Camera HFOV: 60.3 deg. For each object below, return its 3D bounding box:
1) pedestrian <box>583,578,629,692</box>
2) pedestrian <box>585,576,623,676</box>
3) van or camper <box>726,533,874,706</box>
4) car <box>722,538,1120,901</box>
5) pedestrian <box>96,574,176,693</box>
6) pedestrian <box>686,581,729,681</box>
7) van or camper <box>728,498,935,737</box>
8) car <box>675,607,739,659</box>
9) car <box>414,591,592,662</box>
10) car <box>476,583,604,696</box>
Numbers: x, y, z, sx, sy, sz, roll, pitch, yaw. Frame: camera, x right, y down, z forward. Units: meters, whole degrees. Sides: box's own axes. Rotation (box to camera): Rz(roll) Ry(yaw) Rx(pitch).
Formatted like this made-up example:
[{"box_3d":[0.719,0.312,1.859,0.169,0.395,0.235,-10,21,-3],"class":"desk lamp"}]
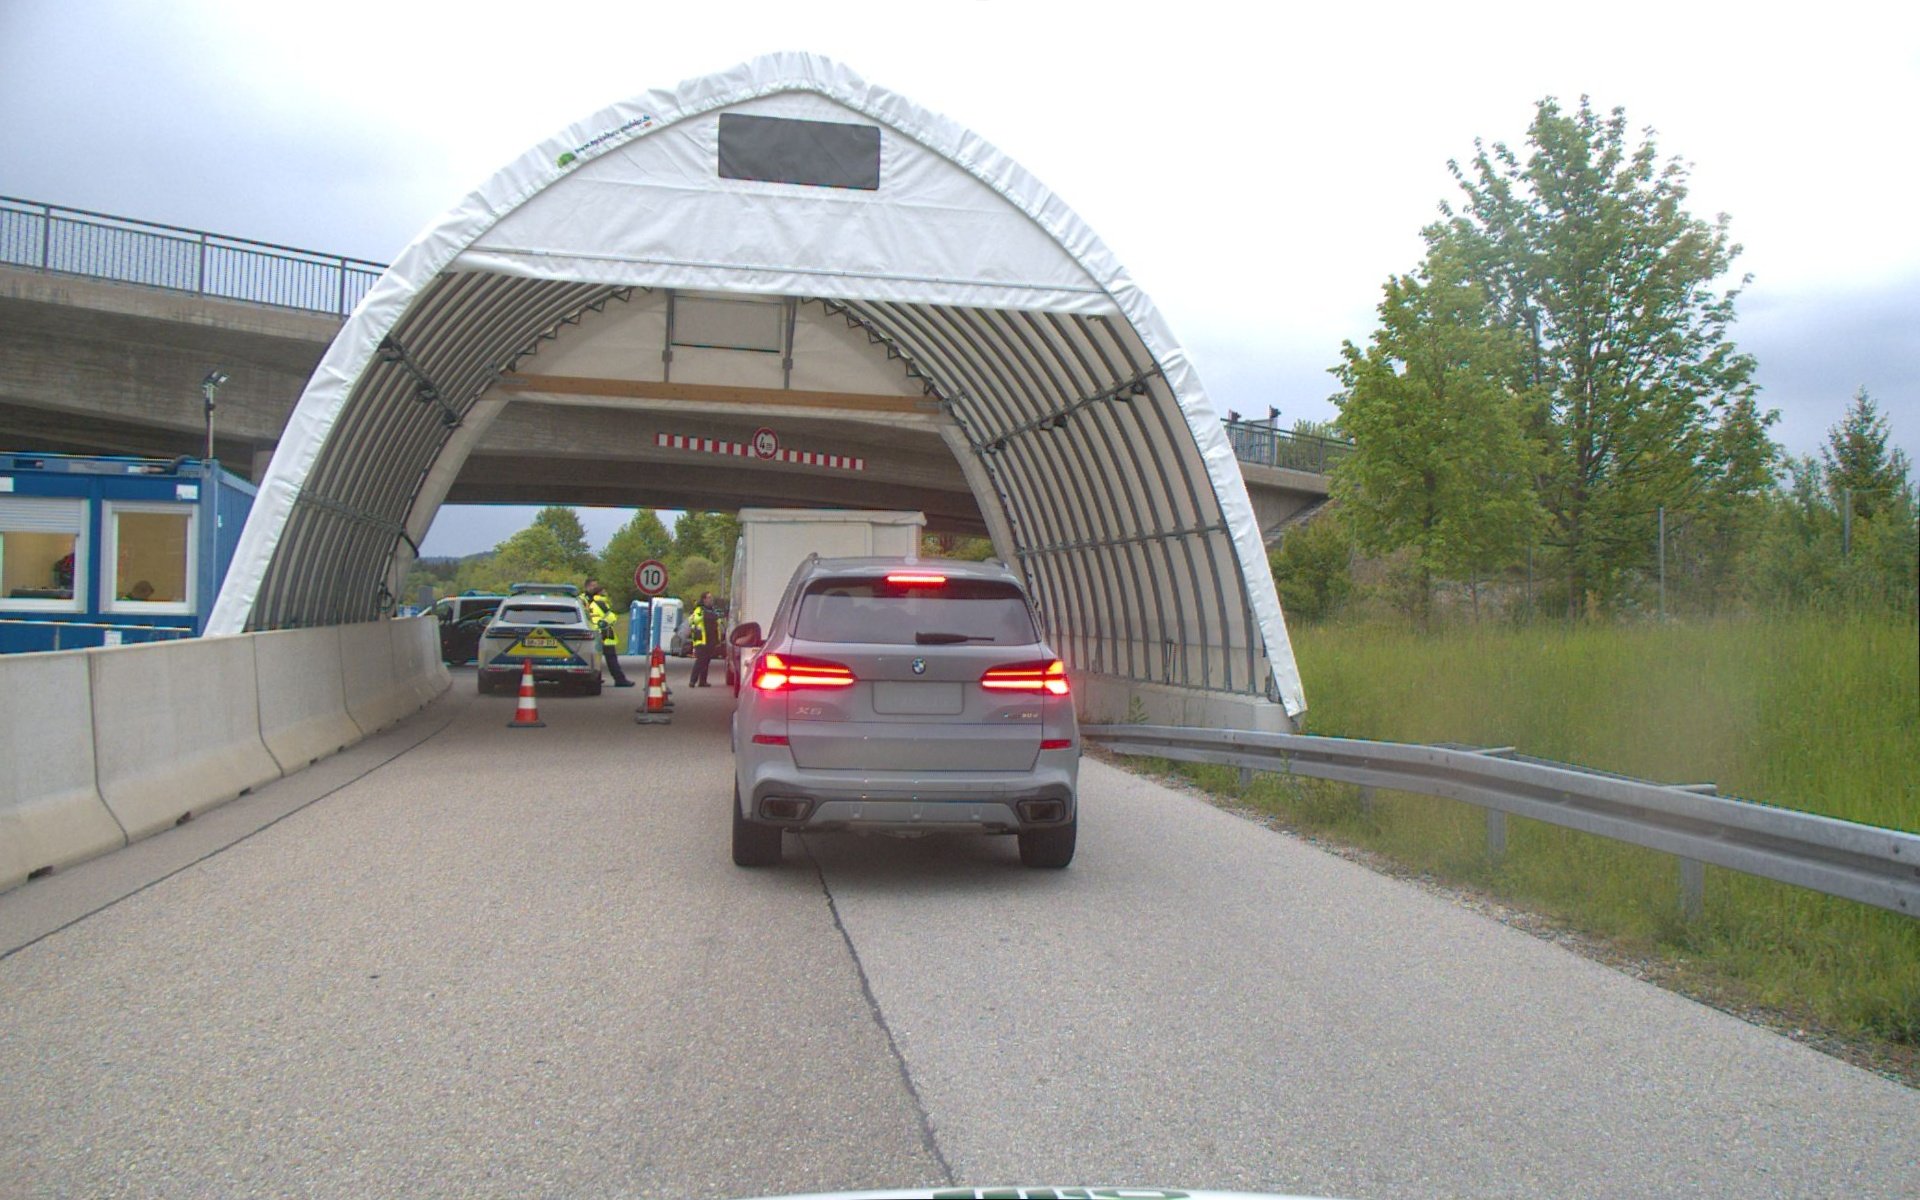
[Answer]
[{"box_3d":[-6.173,0.598,28.826,0.736,1.952,0.760,0,-1,-15],"class":"pedestrian"},{"box_3d":[-6.414,0.464,29.791,0.597,1.784,0.665,0,-1,-6],"class":"pedestrian"},{"box_3d":[-2.763,0.306,27.428,2.065,2.563,5.538,0,0,-10],"class":"van or camper"},{"box_3d":[-0.460,0.604,10.320,1.957,1.796,3.991,0,0,-9],"class":"car"},{"box_3d":[-9.849,0.400,19.783,0.597,1.397,0.628,0,-1,8],"class":"pedestrian"},{"box_3d":[-4.477,0.541,29.326,0.740,1.752,0.780,0,-1,-9],"class":"pedestrian"},{"box_3d":[-1.854,0.210,21.367,2.189,2.597,6.597,0,0,-9],"class":"van or camper"},{"box_3d":[-8.933,1.136,58.240,1.959,1.752,3.883,0,0,-13],"class":"car"},{"box_3d":[-13.459,0.773,48.843,4.703,2.049,1.842,0,-1,7],"class":"car"},{"box_3d":[-6.757,0.596,26.632,1.846,1.675,3.984,0,0,-15],"class":"car"}]
